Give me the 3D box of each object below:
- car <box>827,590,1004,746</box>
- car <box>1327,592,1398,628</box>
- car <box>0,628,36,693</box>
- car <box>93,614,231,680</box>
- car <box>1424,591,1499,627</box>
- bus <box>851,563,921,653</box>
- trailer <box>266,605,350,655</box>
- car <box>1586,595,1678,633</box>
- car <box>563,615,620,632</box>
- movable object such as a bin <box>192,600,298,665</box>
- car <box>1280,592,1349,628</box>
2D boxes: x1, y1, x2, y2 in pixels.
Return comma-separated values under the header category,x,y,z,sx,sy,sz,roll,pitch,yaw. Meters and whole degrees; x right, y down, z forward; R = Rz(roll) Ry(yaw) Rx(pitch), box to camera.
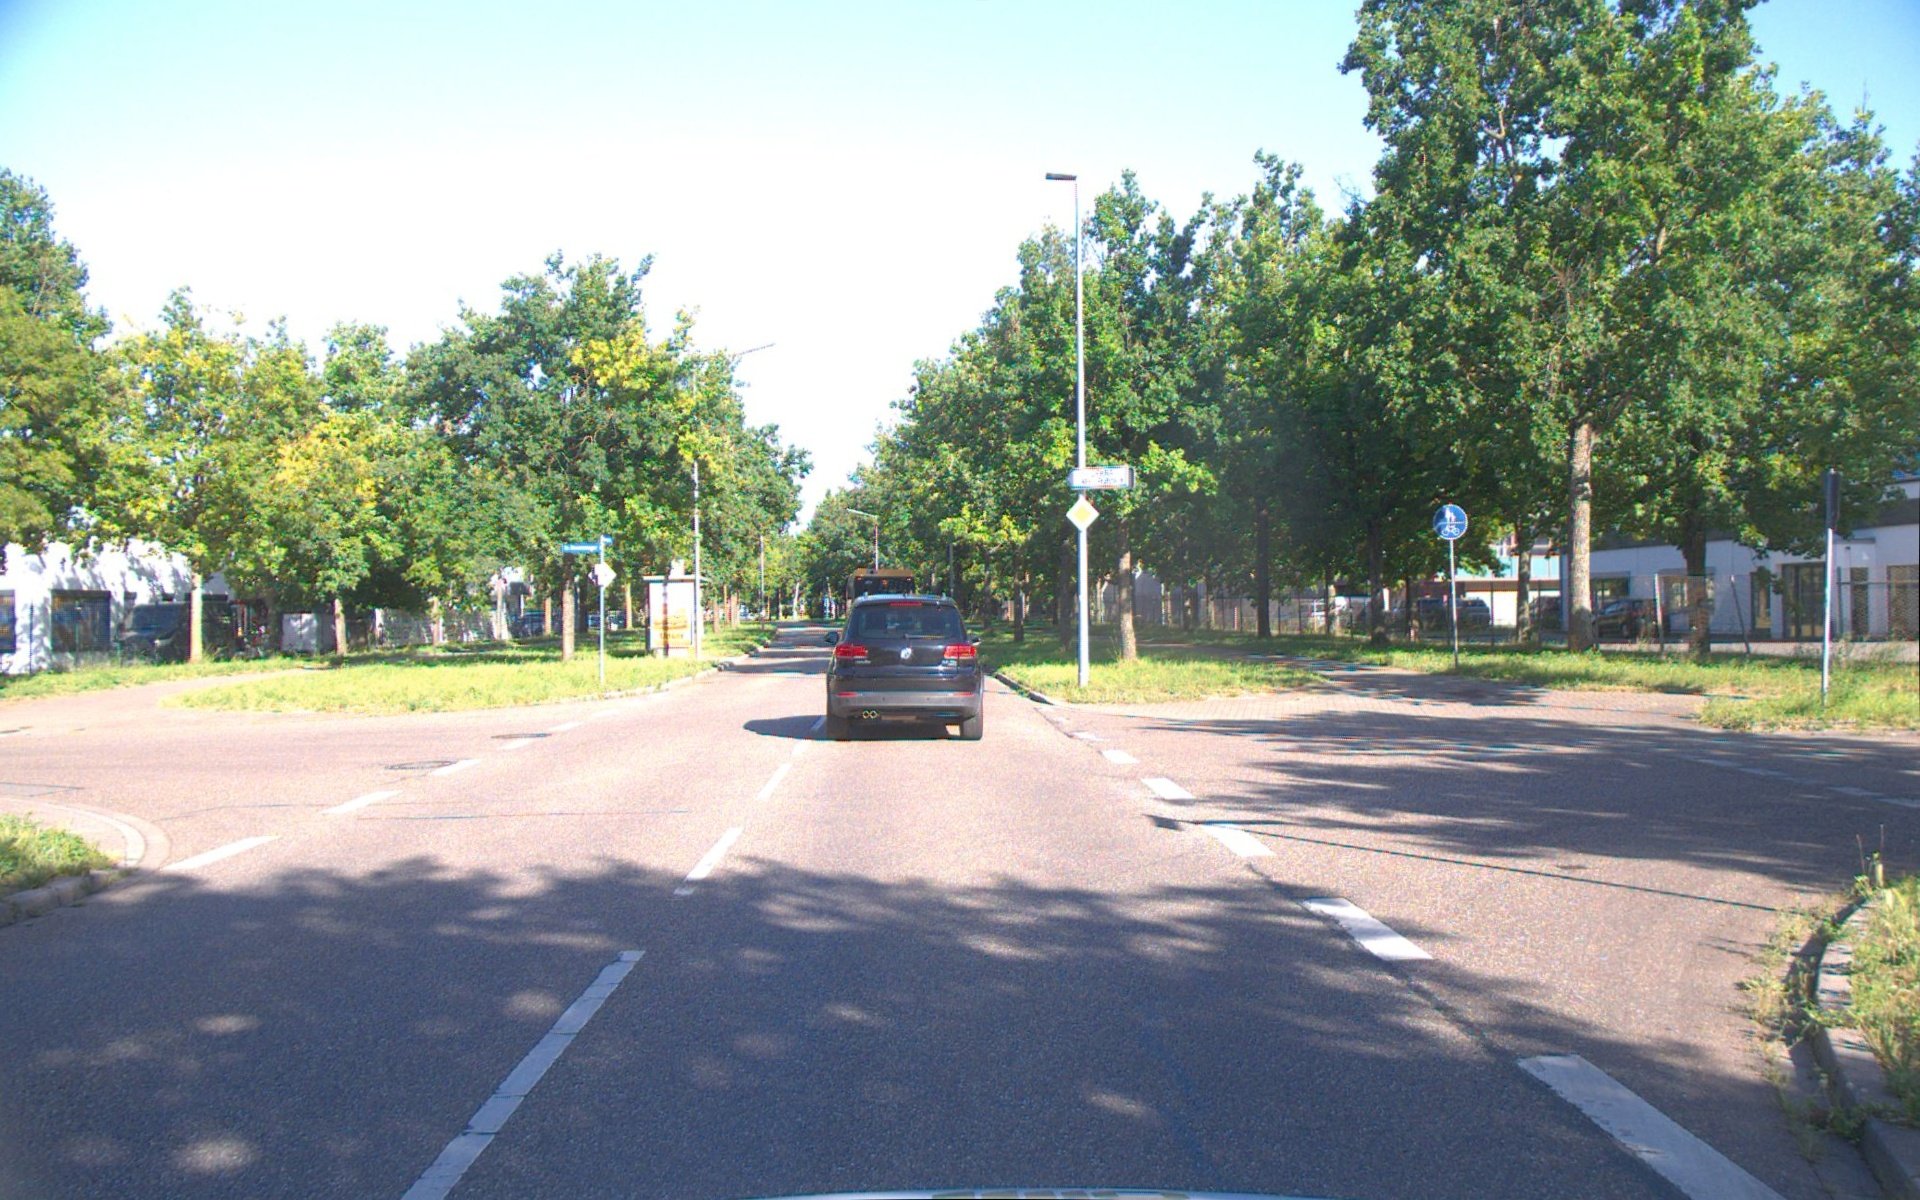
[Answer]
category,x,y,z,sx,sy,sz,roll,pitch,yaw
car,-0.653,0.746,20.210,1.898,1.685,4.422,0,0,-5
car,20.819,0.510,85.731,2.142,1.775,4.636,-1,0,-5
car,-24.821,1.489,39.530,4.406,1.505,1.942,-1,0,4
car,-26.175,1.483,54.490,1.995,2.023,5.802,-1,0,-4
car,26.171,0.457,86.454,2.142,1.775,4.636,-1,0,-5
bus,-3.255,0.348,71.089,2.709,3.517,11.202,-1,0,-3
trailer,-26.729,1.195,67.941,2.060,1.948,3.739,-1,0,-2
car,26.164,0.535,64.518,1.731,1.408,3.763,-1,0,-6
car,-30.015,1.910,134.793,4.112,1.344,1.941,-1,0,1
movable object such as a bin,-26.221,1.160,60.827,2.060,2.256,4.458,-1,0,-2
car,18.320,0.497,85.659,2.142,1.775,4.636,-1,0,-5
